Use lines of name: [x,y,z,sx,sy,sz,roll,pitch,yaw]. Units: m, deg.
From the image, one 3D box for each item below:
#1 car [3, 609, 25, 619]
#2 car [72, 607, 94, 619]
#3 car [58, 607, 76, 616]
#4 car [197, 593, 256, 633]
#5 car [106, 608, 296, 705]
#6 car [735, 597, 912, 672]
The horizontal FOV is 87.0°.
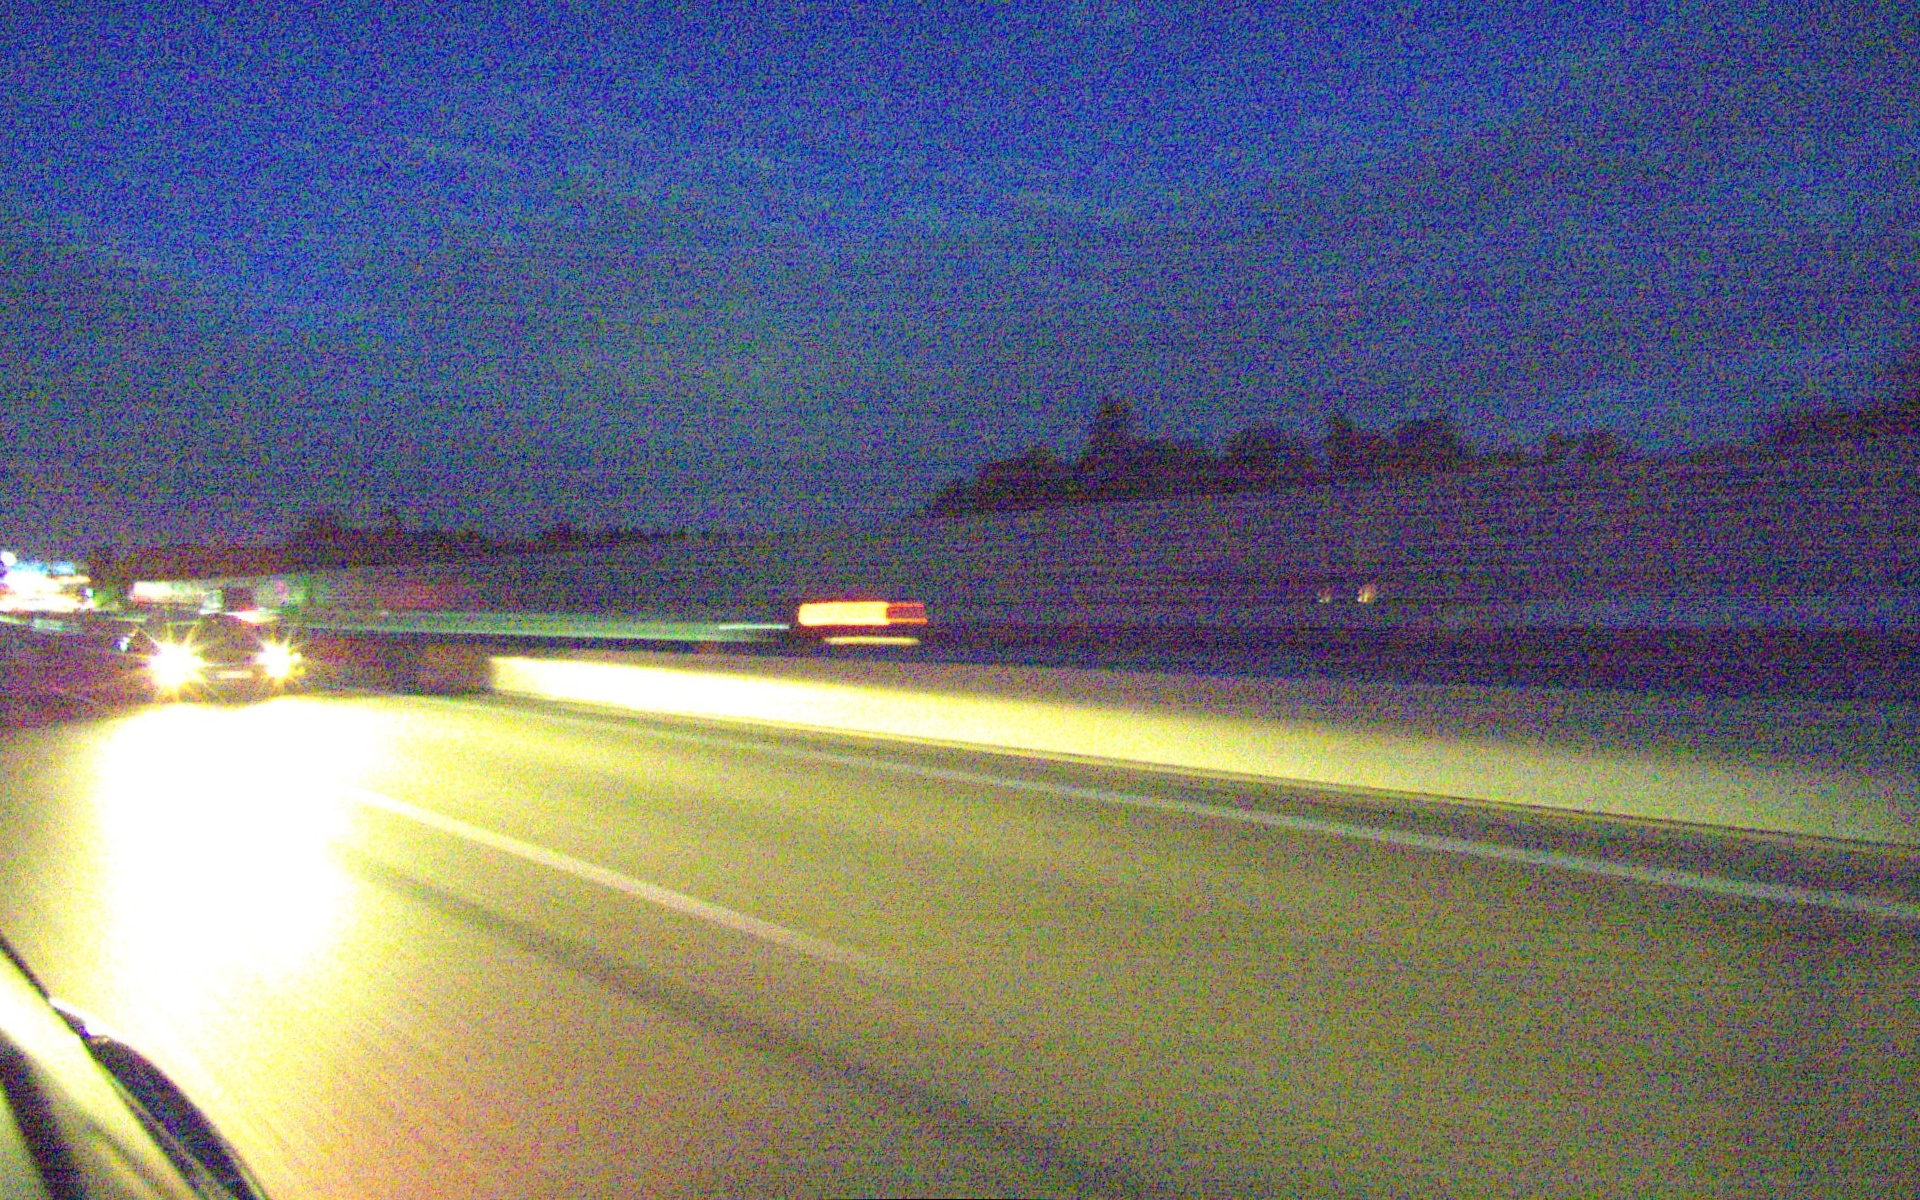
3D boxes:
car: [-158.582,2.256,169.624,5.110,1.567,2.531,0,1,44]
car: [-134.329,1.993,154.971,5.943,1.795,2.031,0,1,44]
car: [-169.873,2.234,192.508,5.110,1.567,2.095,0,1,44]
car: [-60.127,1.089,82.856,8.218,3.109,2.622,-2,-1,45]
car: [-14.388,1.021,19.026,5.651,1.530,1.971,-3,-1,44]
car: [-3.495,0.786,25.389,4.672,1.707,1.803,0,0,42]
